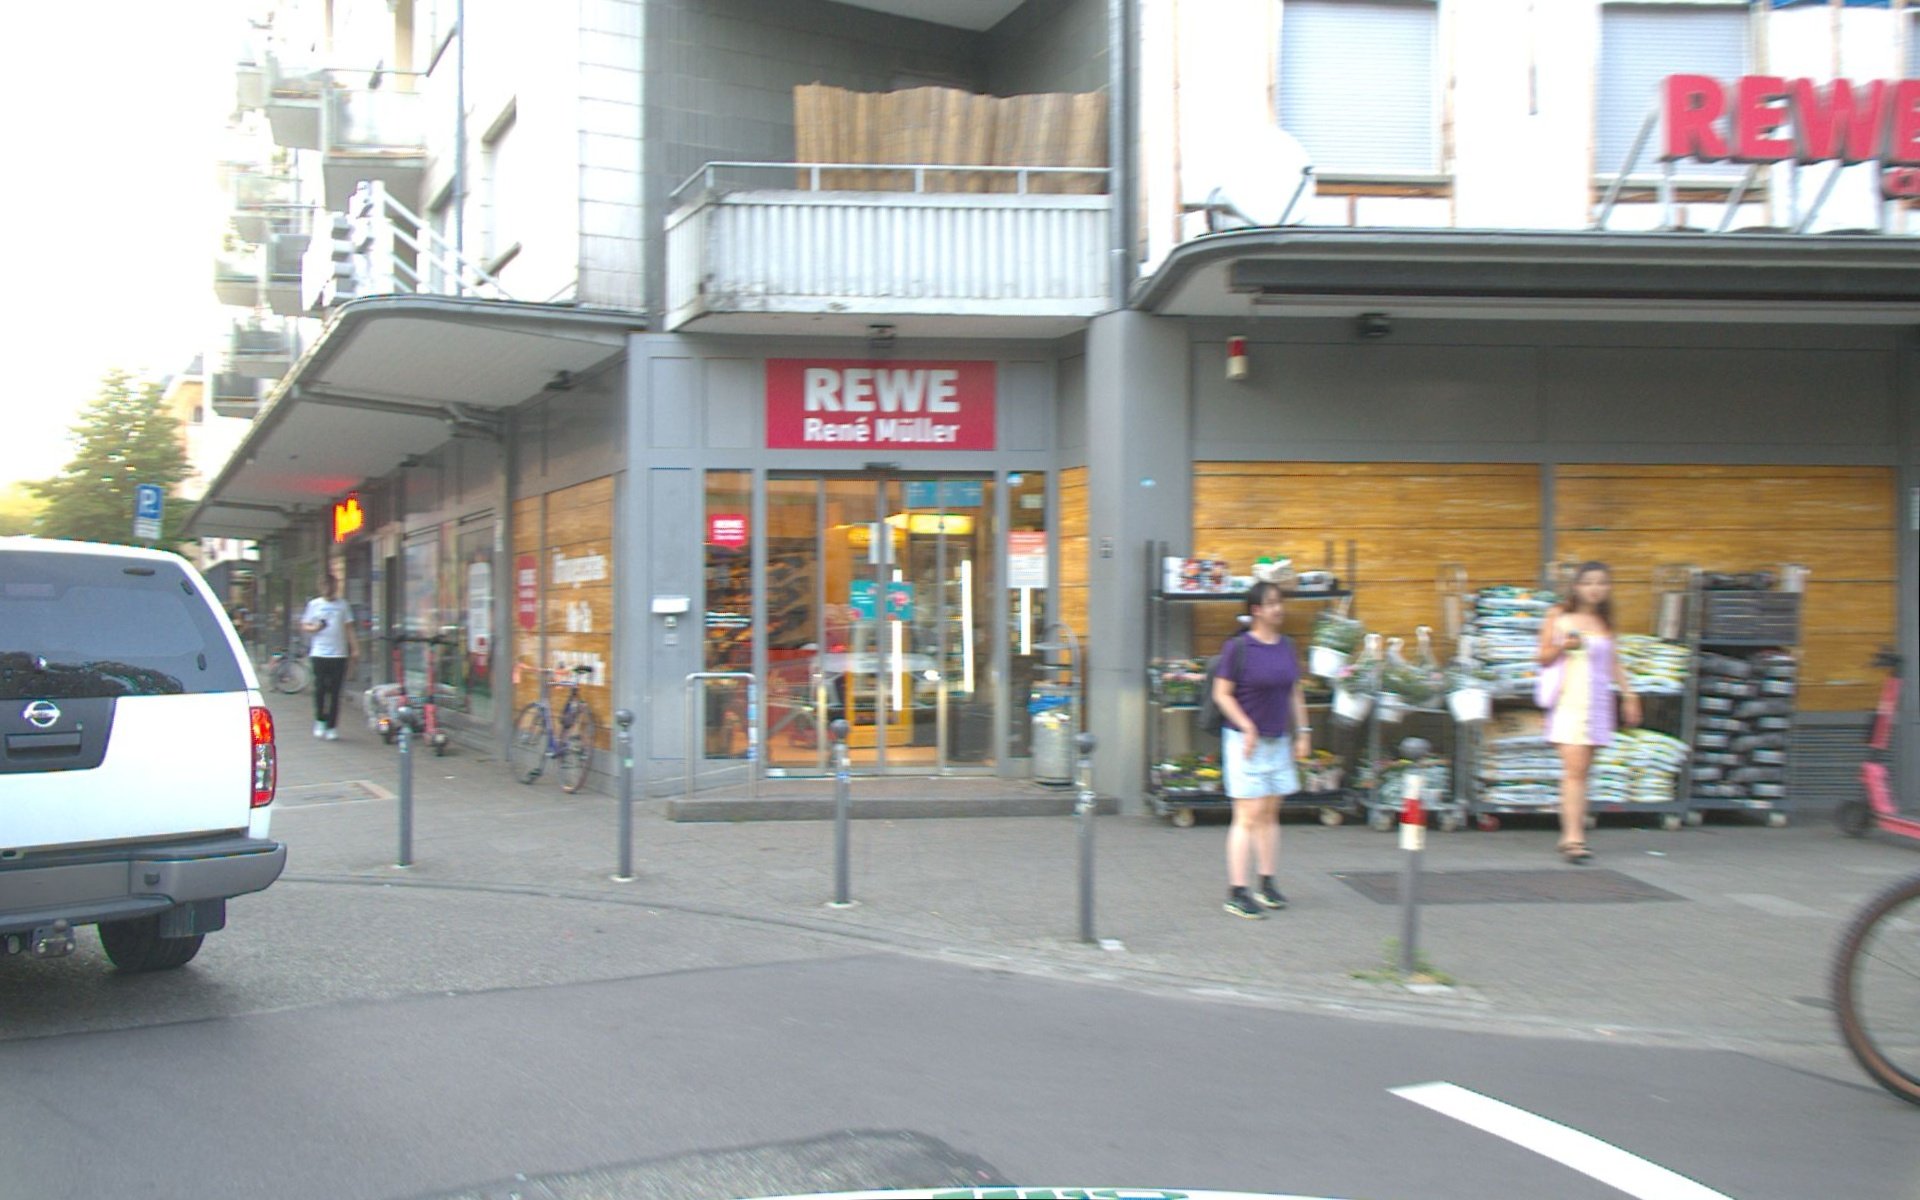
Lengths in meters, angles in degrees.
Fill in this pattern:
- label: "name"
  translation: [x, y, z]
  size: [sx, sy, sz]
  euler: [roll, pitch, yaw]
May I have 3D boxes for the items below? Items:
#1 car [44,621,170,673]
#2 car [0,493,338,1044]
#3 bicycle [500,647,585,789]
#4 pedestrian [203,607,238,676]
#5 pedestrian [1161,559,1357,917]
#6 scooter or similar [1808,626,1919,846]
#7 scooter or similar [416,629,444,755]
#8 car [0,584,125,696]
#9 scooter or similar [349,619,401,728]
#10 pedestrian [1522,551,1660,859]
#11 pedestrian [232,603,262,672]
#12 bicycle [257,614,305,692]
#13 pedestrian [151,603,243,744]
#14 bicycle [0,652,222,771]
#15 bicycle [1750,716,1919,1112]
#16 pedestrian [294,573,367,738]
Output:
- label: "car"
  translation: [-30.608, 1.690, 59.392]
  size: [3.943, 1.781, 1.823]
  euler: [2, -2, -29]
- label: "car"
  translation: [-4.845, 0.607, 7.403]
  size: [4.914, 1.842, 1.932]
  euler: [-1, -1, 43]
- label: "bicycle"
  translation: [-3.495, 0.969, 13.821]
  size: [0.287, 1.132, 0.952]
  euler: [2, -2, -40]
- label: "pedestrian"
  translation: [-19.970, 1.115, 44.676]
  size: [0.614, 1.843, 0.787]
  euler: [1, -2, -8]
- label: "pedestrian"
  translation: [1.500, 0.659, 8.281]
  size: [0.705, 1.681, 0.710]
  euler: [-1, -2, 40]
- label: "scooter or similar"
  translation: [5.823, 0.823, 10.169]
  size: [0.315, 1.289, 1.285]
  euler: [1, 0, -13]
- label: "scooter or similar"
  translation: [-5.566, 0.952, 17.372]
  size: [0.216, 1.259, 0.960]
  euler: [1, 0, -20]
- label: "car"
  translation: [-17.021, 0.768, 31.460]
  size: [1.920, 1.968, 3.962]
  euler: [2, -2, -28]
- label: "scooter or similar"
  translation: [-7.374, 0.908, 20.821]
  size: [0.434, 1.313, 1.654]
  euler: [2, -2, -25]
- label: "pedestrian"
  translation: [3.750, 0.607, 9.873]
  size: [0.650, 1.756, 0.723]
  euler: [0, -2, 11]
- label: "pedestrian"
  translation: [-19.164, 1.007, 44.462]
  size: [0.624, 1.843, 0.482]
  euler: [1, -2, -15]
- label: "bicycle"
  translation: [-12.937, 0.998, 31.485]
  size: [0.550, 1.432, 2.074]
  euler: [2, -2, -30]
- label: "pedestrian"
  translation: [-9.417, 0.899, 20.426]
  size: [0.705, 1.692, 0.702]
  euler: [0, -2, 25]
- label: "bicycle"
  translation: [-9.103, 1.155, 17.293]
  size: [2.438, 1.056, 0.610]
  euler: [-3, 1, -33]
- label: "bicycle"
  translation: [3.626, 0.948, 4.927]
  size: [2.231, 1.092, 0.791]
  euler: [0, 0, 21]
- label: "pedestrian"
  translation: [-7.569, 0.663, 19.874]
  size: [0.711, 1.940, 0.696]
  euler: [2, -2, -27]
